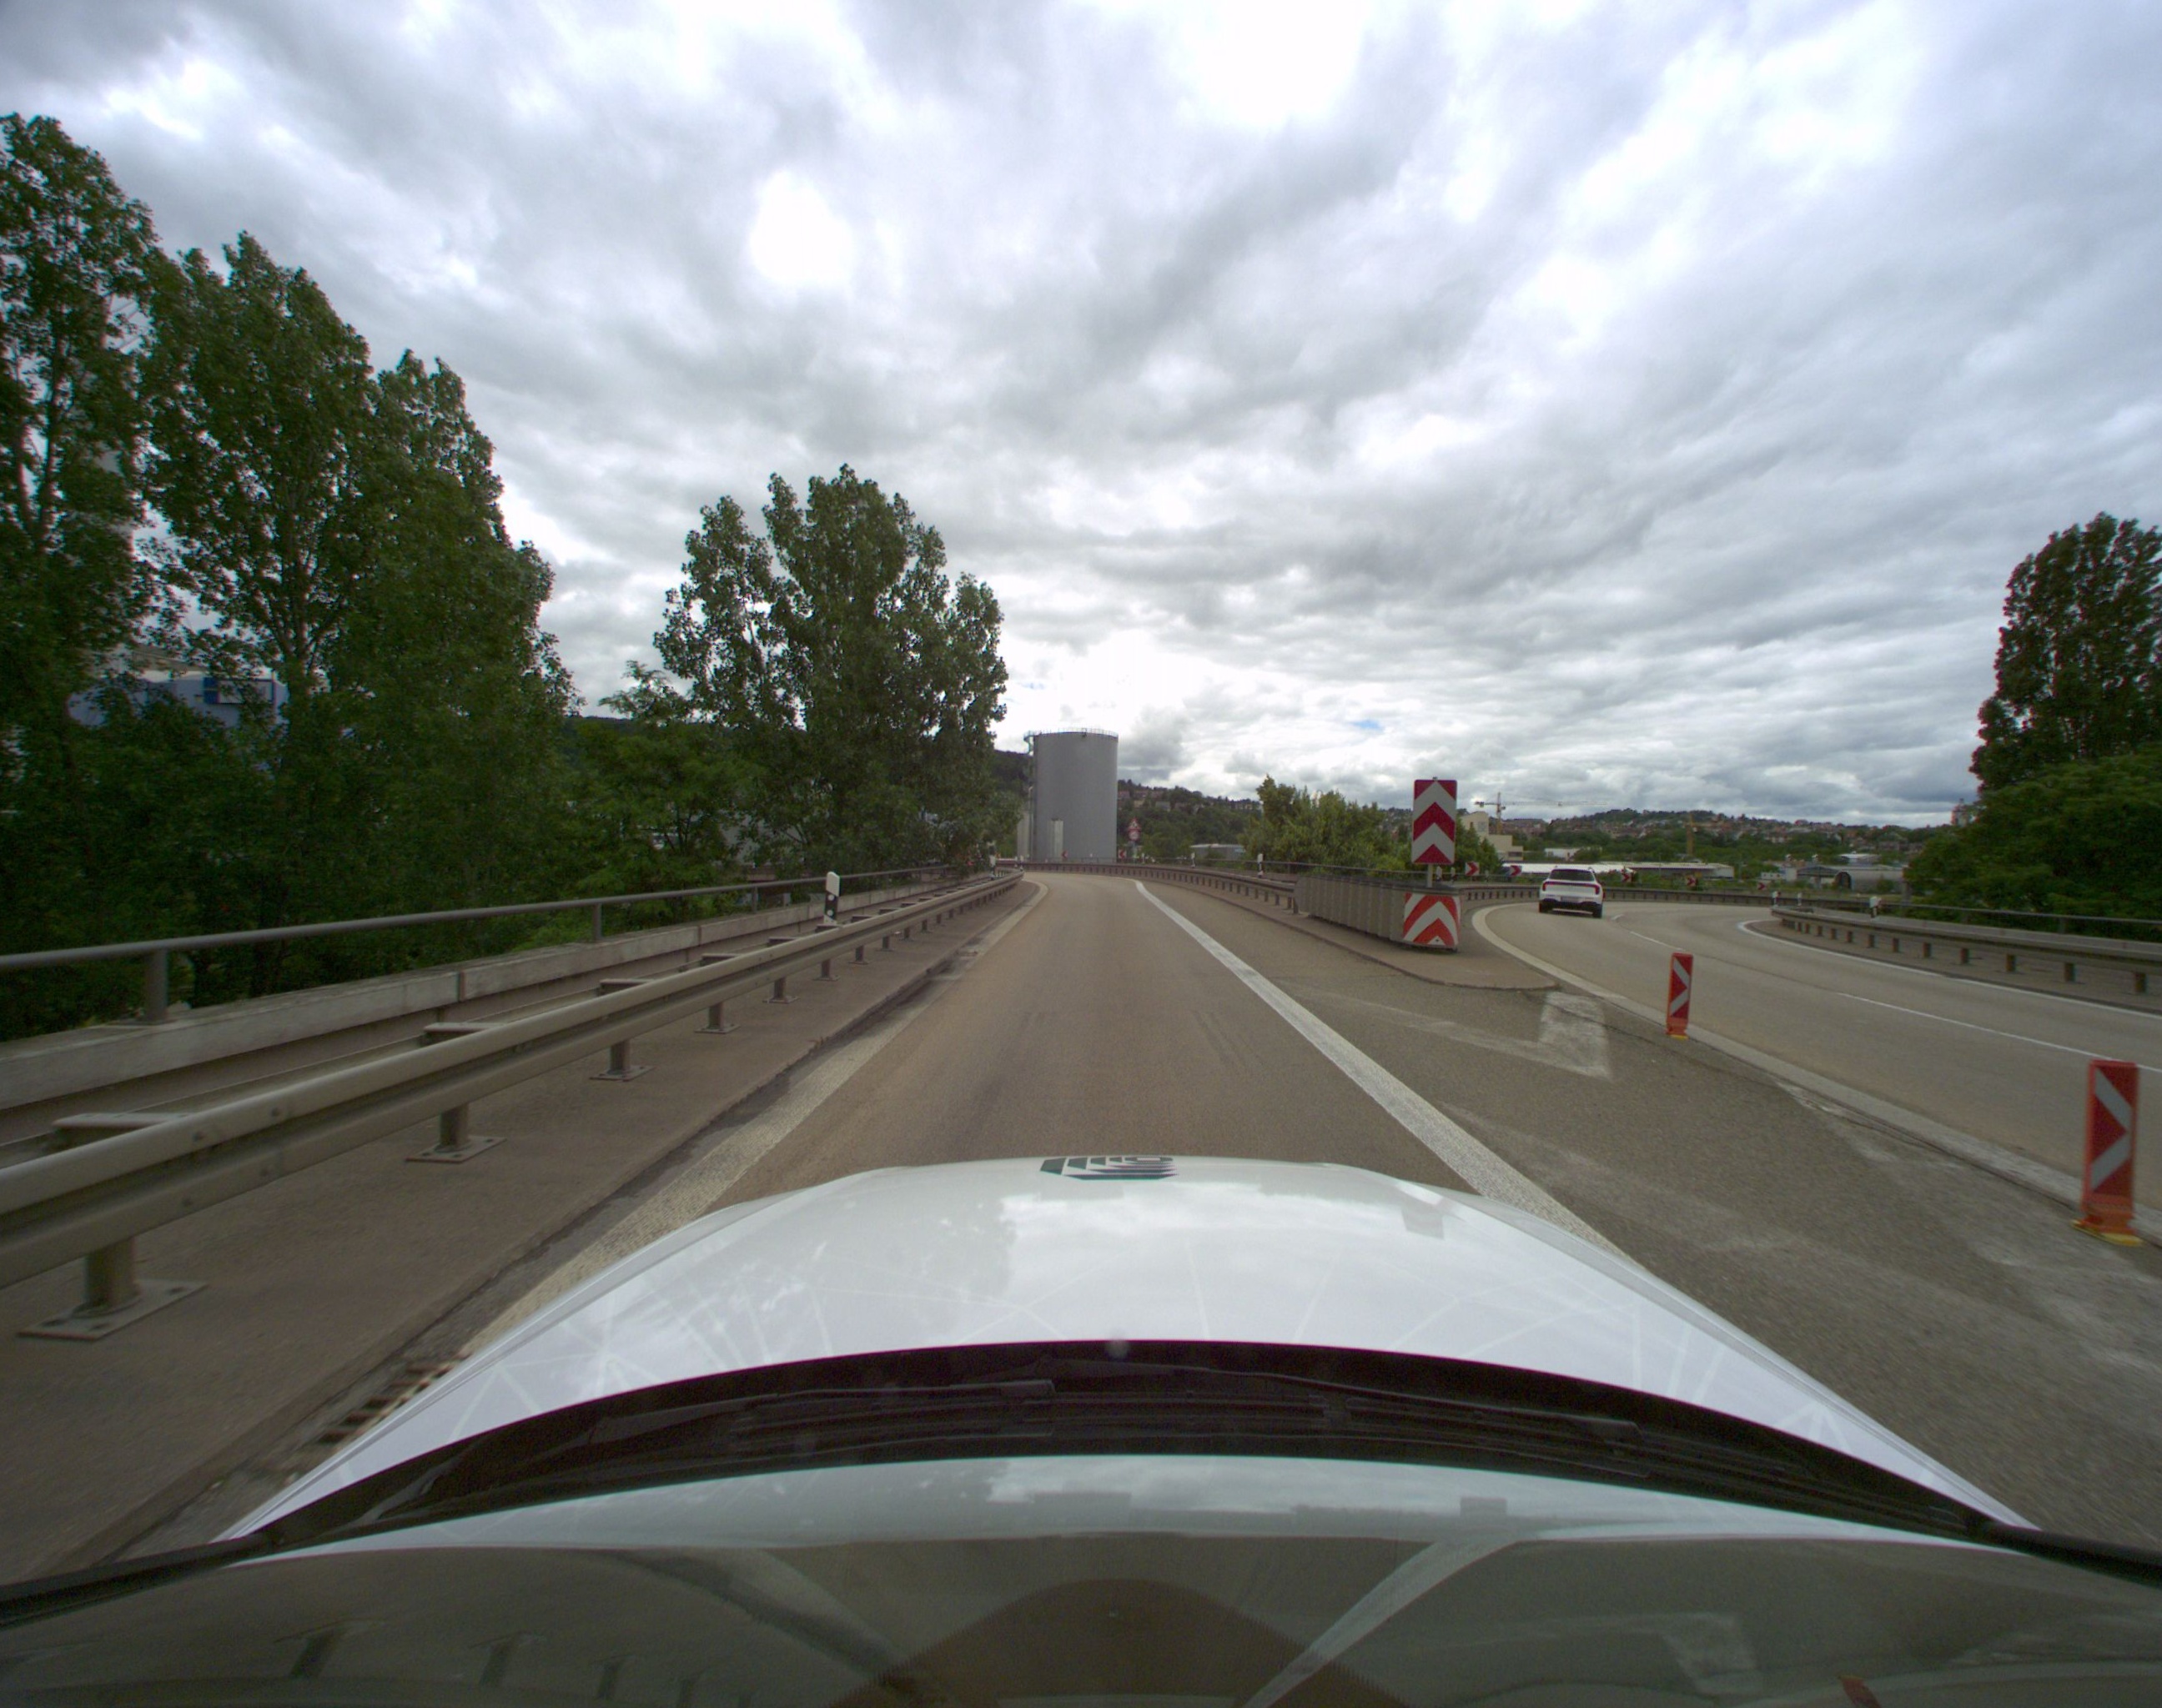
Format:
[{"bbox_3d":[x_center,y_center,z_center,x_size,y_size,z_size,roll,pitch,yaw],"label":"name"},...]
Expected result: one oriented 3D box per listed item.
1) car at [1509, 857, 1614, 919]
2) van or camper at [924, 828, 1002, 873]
[{"bbox_3d":[16.675,1.099,28.506,1.911,1.785,4.128,5,2,13],"label":"car"},{"bbox_3d":[-10.164,-0.316,69.361,3.145,3.579,8.459,-1,0,-34],"label":"van or camper"}]
